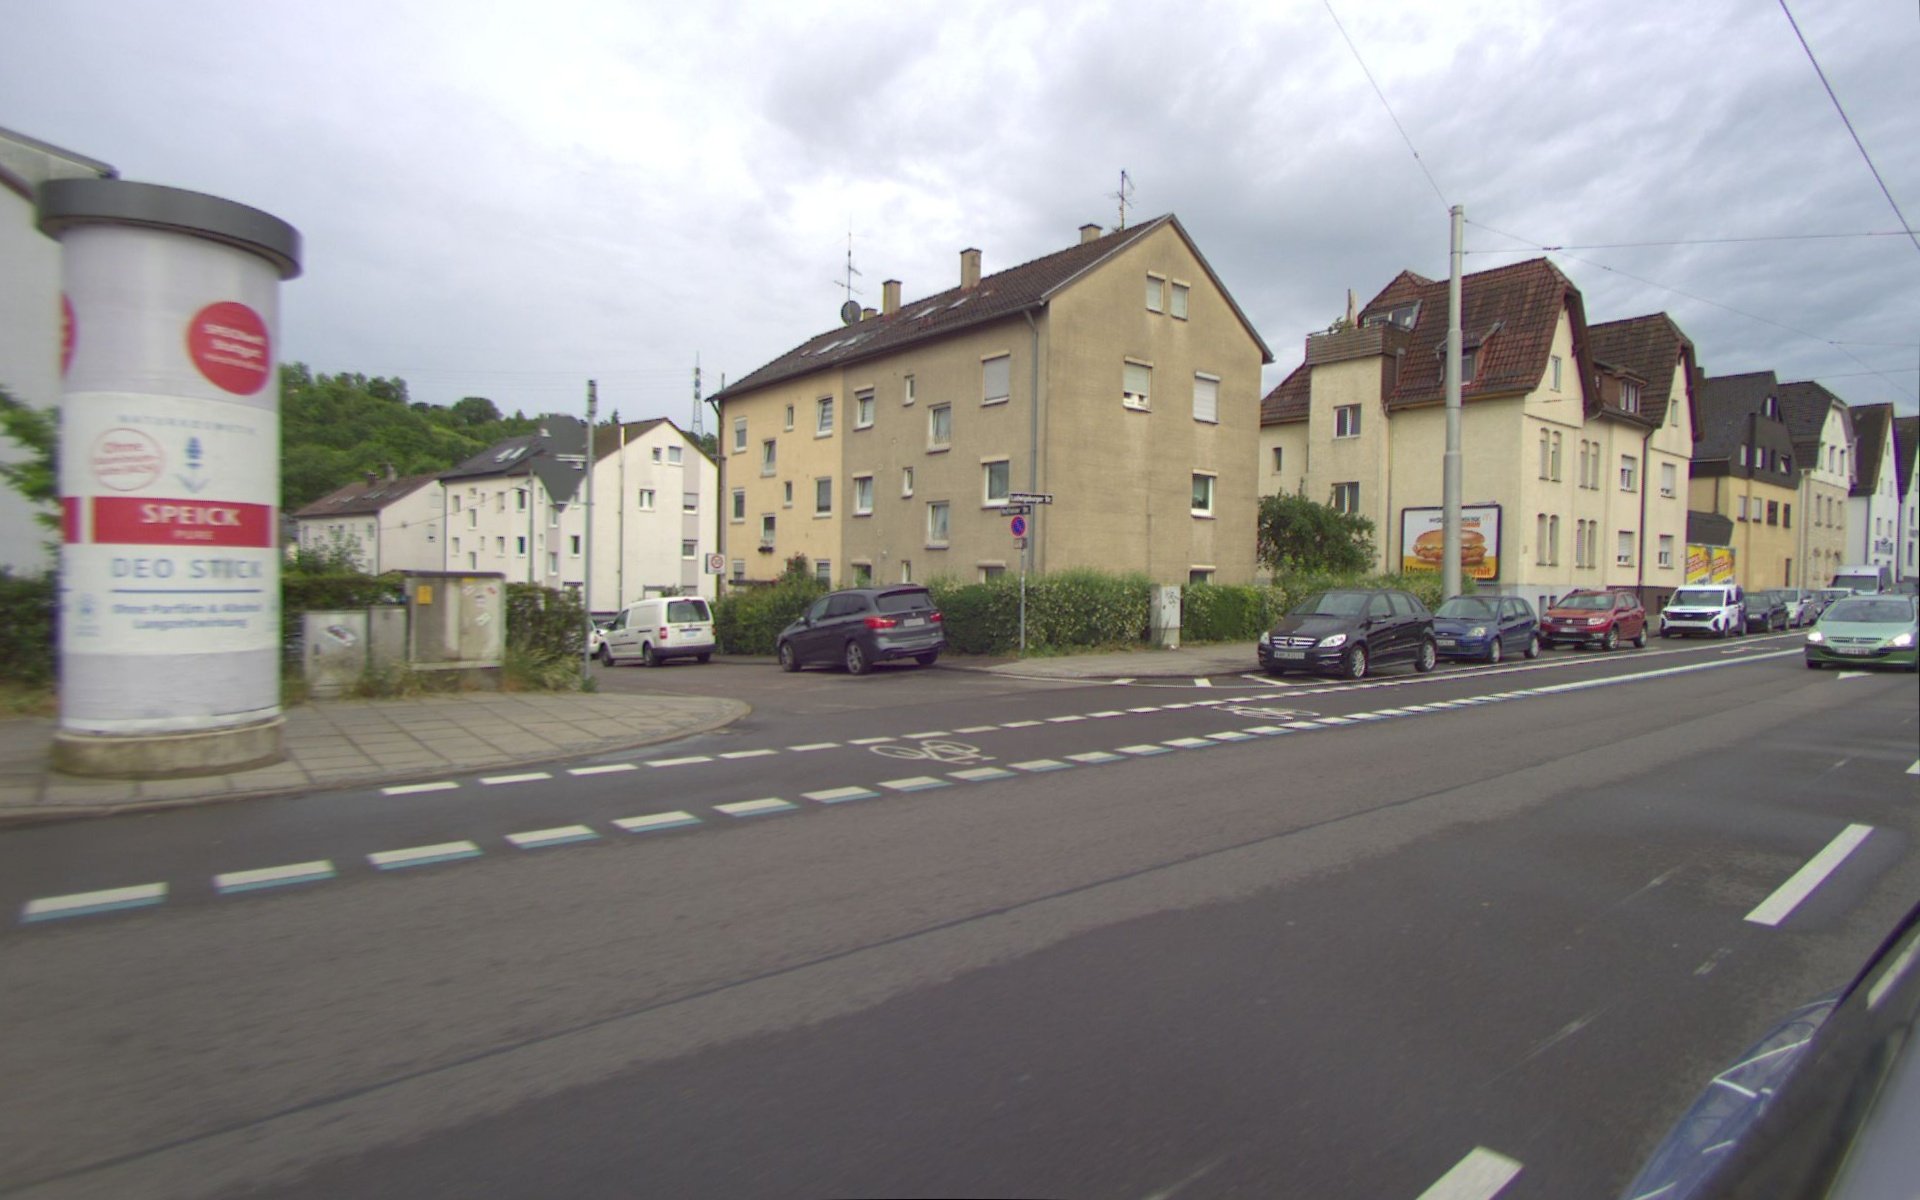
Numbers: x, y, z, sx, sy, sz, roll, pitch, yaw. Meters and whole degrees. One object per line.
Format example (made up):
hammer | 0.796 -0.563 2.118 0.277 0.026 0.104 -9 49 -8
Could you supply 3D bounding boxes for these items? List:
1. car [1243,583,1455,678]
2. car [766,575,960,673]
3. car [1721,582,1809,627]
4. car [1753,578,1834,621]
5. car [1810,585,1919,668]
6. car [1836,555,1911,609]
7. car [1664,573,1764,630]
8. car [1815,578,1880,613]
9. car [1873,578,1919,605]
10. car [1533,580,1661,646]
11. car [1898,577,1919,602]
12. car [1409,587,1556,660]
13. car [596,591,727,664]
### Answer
car | 7.254 0.477 18.654 4.362 1.553 1.840 -1 0 -41
car | -2.041 0.453 20.106 1.845 1.676 4.285 -2 0 -36
car | 29.449 0.137 36.967 4.063 1.530 1.690 -1 1 -39
car | 33.615 -0.061 40.785 4.206 1.585 1.705 -2 1 -39
car | 19.097 0.478 20.799 4.128 1.467 1.886 -2 2 -41
car | 45.582 -0.940 50.450 5.817 2.530 2.044 -2 1 -40
car | 25.119 0.016 33.664 4.445 1.778 1.849 -1 1 -42
car | 41.219 -0.234 46.958 4.126 1.482 1.604 -2 1 -39
car | 50.794 -0.477 54.694 4.014 1.362 1.725 -2 2 -41
car | 17.344 0.301 27.500 4.028 1.648 1.840 -1 1 -41
car | 55.693 -0.605 58.538 4.128 1.362 1.725 -2 2 -41
car | 11.733 0.461 22.632 3.862 1.462 1.669 -1 1 -42
car | -8.336 0.751 28.001 1.847 1.817 4.280 -2 0 -41
